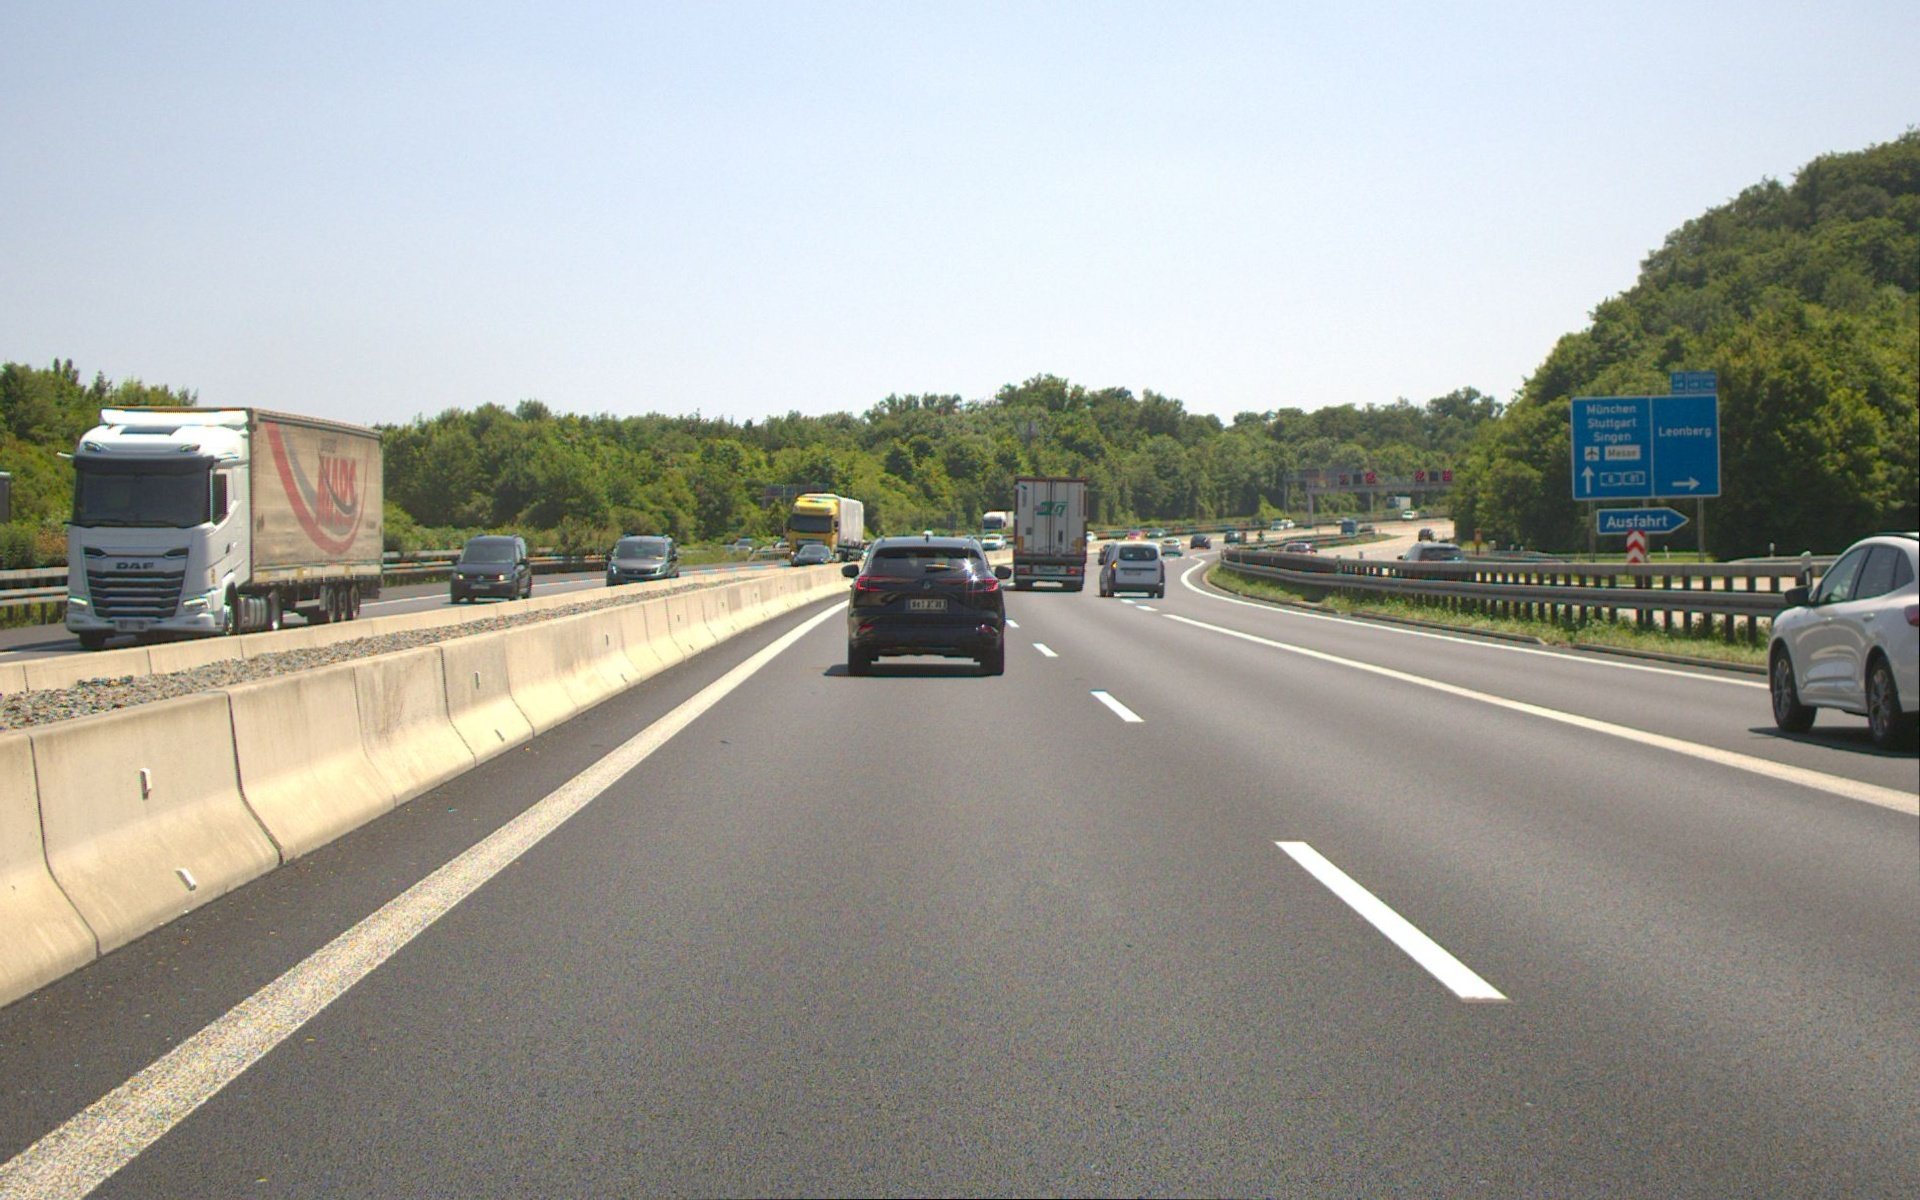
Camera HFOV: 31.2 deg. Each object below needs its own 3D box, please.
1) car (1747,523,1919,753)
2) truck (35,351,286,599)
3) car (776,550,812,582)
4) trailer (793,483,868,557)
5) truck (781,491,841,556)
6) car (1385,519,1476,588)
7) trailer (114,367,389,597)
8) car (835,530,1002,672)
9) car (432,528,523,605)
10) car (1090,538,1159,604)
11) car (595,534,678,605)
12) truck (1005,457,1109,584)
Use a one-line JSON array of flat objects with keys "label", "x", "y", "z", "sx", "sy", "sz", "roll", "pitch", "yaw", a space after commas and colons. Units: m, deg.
[{"label": "car", "x": 7.752, "y": 0.257, "z": 26.984, "sx": 1.993, "sy": 1.656, "sz": 4.468, "roll": 1, "pitch": 1, "yaw": -2}, {"label": "truck", "x": -13.476, "y": -2.057, "z": 58.403, "sx": 2.928, "sy": 3.959, "sz": 5.898, "roll": 1, "pitch": 1, "yaw": -1}, {"label": "car", "x": -8.160, "y": -1.693, "z": 168.699, "sx": 1.728, "sy": 1.531, "sz": 4.614, "roll": 1, "pitch": 1, "yaw": -3}, {"label": "trailer", "x": -7.803, "y": -4.818, "z": 209.427, "sx": 2.718, "sy": 4.297, "sz": 12.821, "roll": 1, "pitch": 1, "yaw": 6}, {"label": "truck", "x": -8.669, "y": -4.447, "z": 200.637, "sx": 2.750, "sy": 3.741, "sz": 4.865, "roll": 1, "pitch": 1, "yaw": 6}, {"label": "car", "x": 14.175, "y": -1.410, "z": 103.833, "sx": 1.993, "sy": 2.007, "sz": 4.001, "roll": -1, "pitch": 1, "yaw": -3}, {"label": "trailer", "x": -13.540, "y": -2.163, "z": 66.909, "sx": 2.910, "sy": 4.031, "sz": 12.064, "roll": 1, "pitch": 1, "yaw": 0}, {"label": "car", "x": -0.540, "y": -0.011, "z": 40.648, "sx": 1.779, "sy": 1.572, "sz": 4.001, "roll": 1, "pitch": 1, "yaw": -3}, {"label": "car", "x": -13.054, "y": -0.907, "z": 93.186, "sx": 1.993, "sy": 2.007, "sz": 4.485, "roll": 1, "pitch": 1, "yaw": -2}, {"label": "car", "x": 5.283, "y": -0.963, "z": 110.927, "sx": 1.993, "sy": 2.007, "sz": 4.000, "roll": -2, "pitch": 1, "yaw": 0}, {"label": "car", "x": -9.438, "y": -0.910, "z": 100.643, "sx": 2.051, "sy": 2.007, "sz": 4.955, "roll": 1, "pitch": 1, "yaw": -1}, {"label": "truck", "x": 3.646, "y": -2.864, "z": 126.249, "sx": 3.032, "sy": 4.403, "sz": 12.016, "roll": 1, "pitch": 1, "yaw": 5}]
